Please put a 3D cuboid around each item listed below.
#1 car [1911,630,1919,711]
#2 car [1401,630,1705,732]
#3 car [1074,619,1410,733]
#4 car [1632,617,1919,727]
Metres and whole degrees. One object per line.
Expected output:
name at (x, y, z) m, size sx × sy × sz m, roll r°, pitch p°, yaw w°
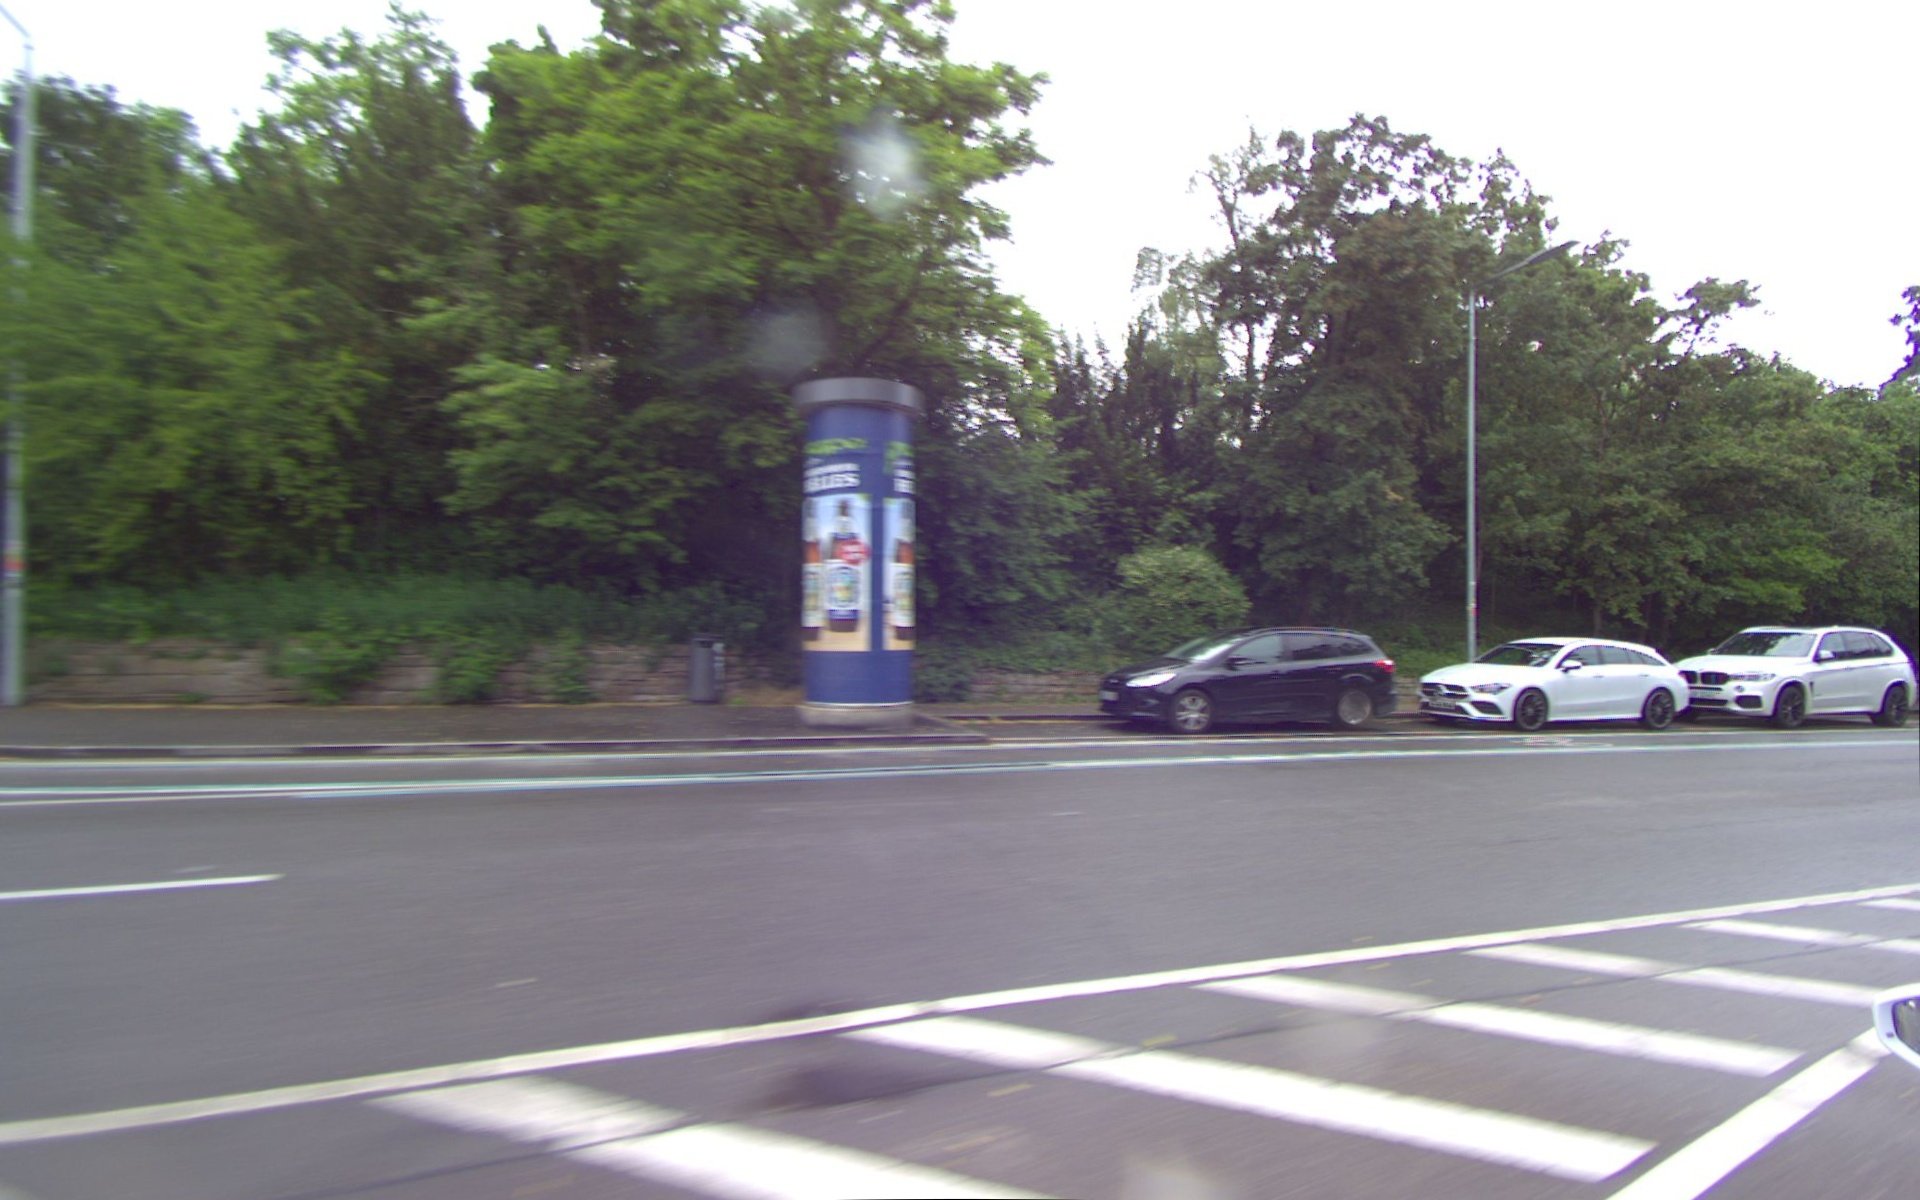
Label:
car at (22.265, 1.541, 21.027) m, size 4.505 × 1.671 × 1.727 m, roll 2°, pitch 0°, yaw -23°
car at (9.715, 1.285, 16.458) m, size 4.635 × 1.479 × 1.716 m, roll 2°, pitch -1°, yaw -19°
car at (4.102, 1.076, 14.709) m, size 4.513 × 1.464 × 1.748 m, roll 2°, pitch 0°, yaw -17°
car at (14.925, 1.279, 18.263) m, size 4.885 × 1.789 × 1.991 m, roll 2°, pitch -1°, yaw -20°
